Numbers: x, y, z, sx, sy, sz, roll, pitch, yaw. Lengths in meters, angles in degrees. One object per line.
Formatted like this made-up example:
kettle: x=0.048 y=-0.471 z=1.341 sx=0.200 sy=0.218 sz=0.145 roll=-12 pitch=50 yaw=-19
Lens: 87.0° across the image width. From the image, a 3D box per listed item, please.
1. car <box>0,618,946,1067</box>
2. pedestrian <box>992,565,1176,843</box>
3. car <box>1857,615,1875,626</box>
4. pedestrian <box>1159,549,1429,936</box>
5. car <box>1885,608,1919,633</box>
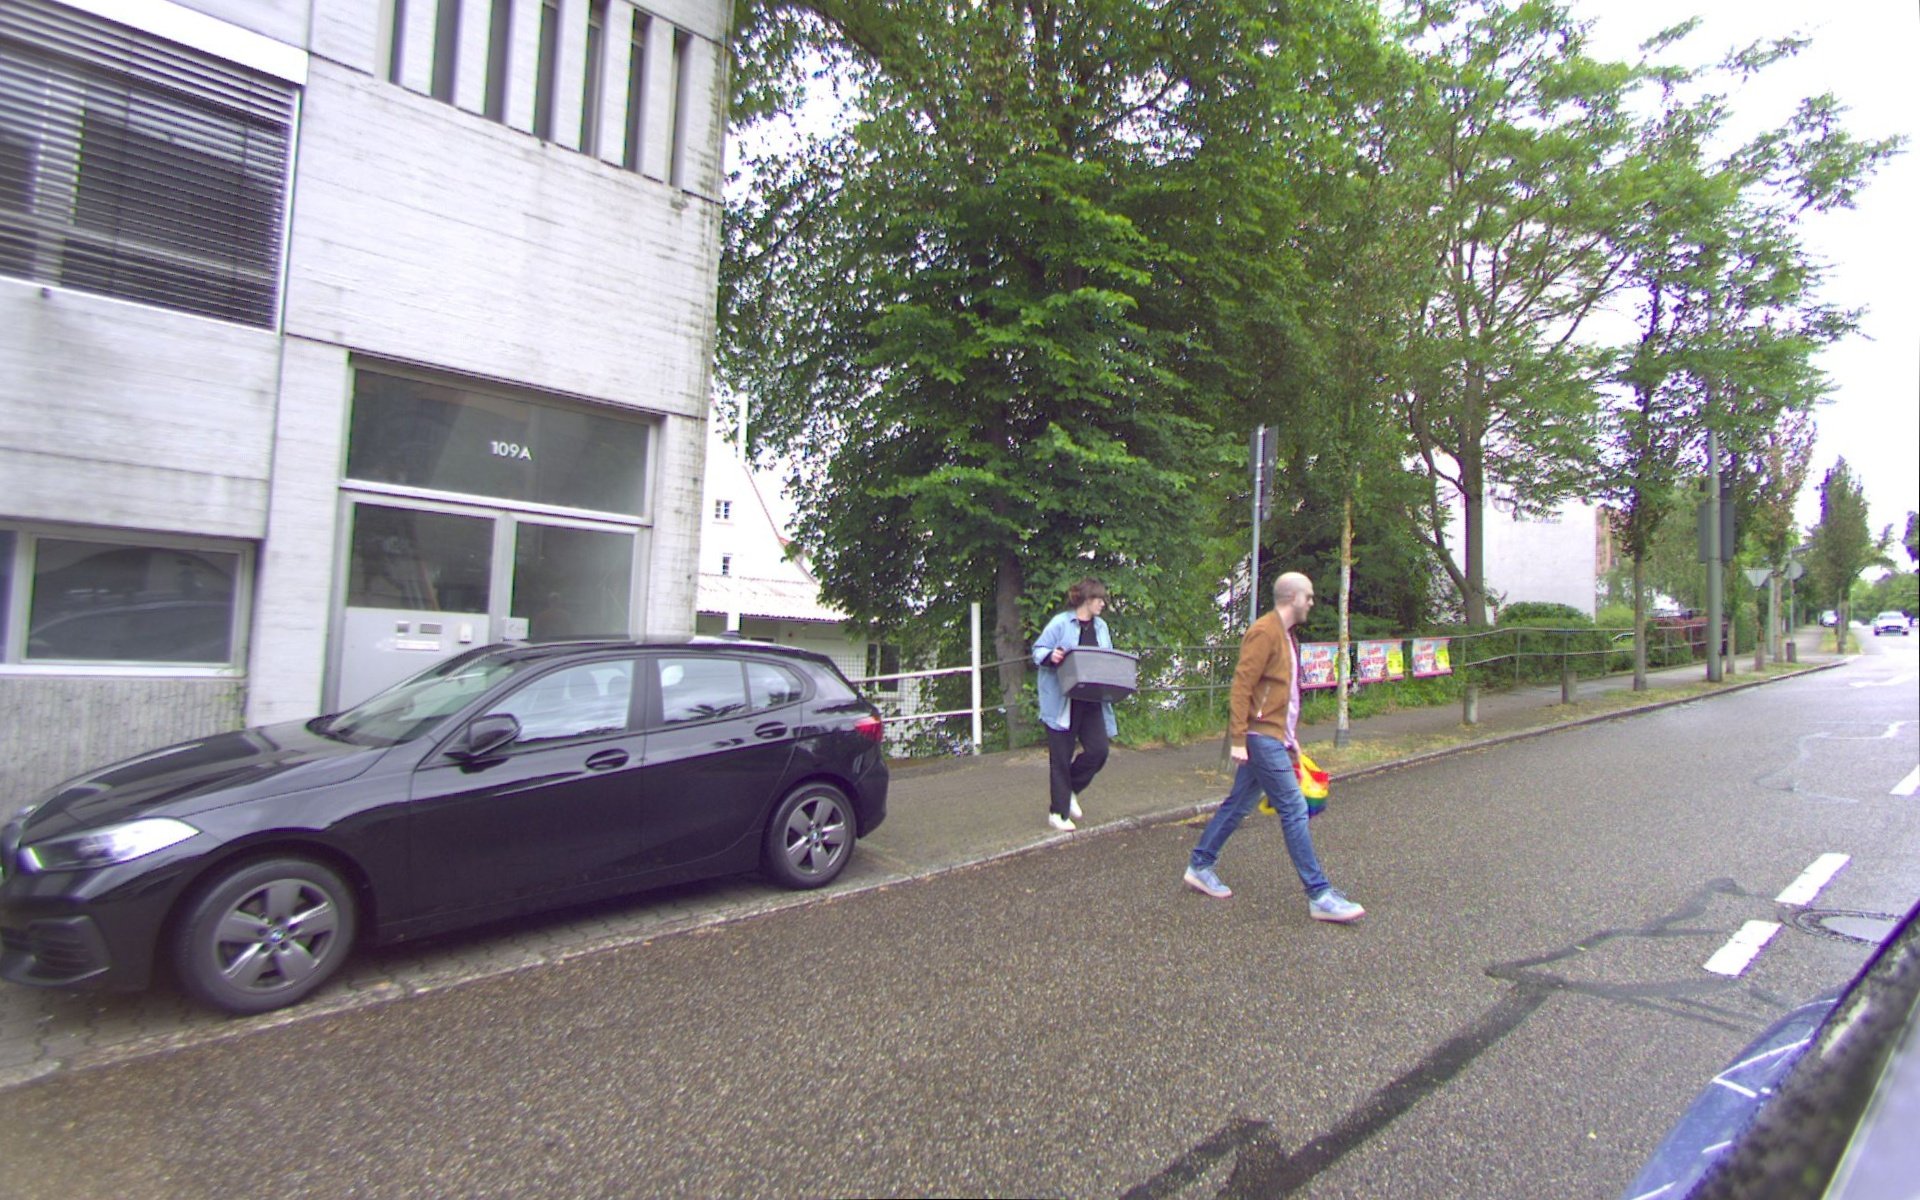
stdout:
car: x=-2.358 y=0.863 z=5.644 sx=4.368 sy=1.453 sz=1.996 roll=0 pitch=-1 yaw=-43
pedestrian: x=0.859 y=0.682 z=7.261 sx=0.807 sy=1.805 sz=1.075 roll=-1 pitch=-2 yaw=-26
car: x=150.835 y=3.419 z=168.500 sx=4.166 sy=1.741 sz=1.889 roll=-1 pitch=2 yaw=-43
pedestrian: x=1.763 y=0.673 z=5.408 sx=0.810 sy=1.805 sz=1.071 roll=0 pitch=-2 yaw=-40
car: x=67.957 y=1.470 z=72.915 sx=1.828 sy=1.638 sz=4.286 roll=-1 pitch=0 yaw=42
